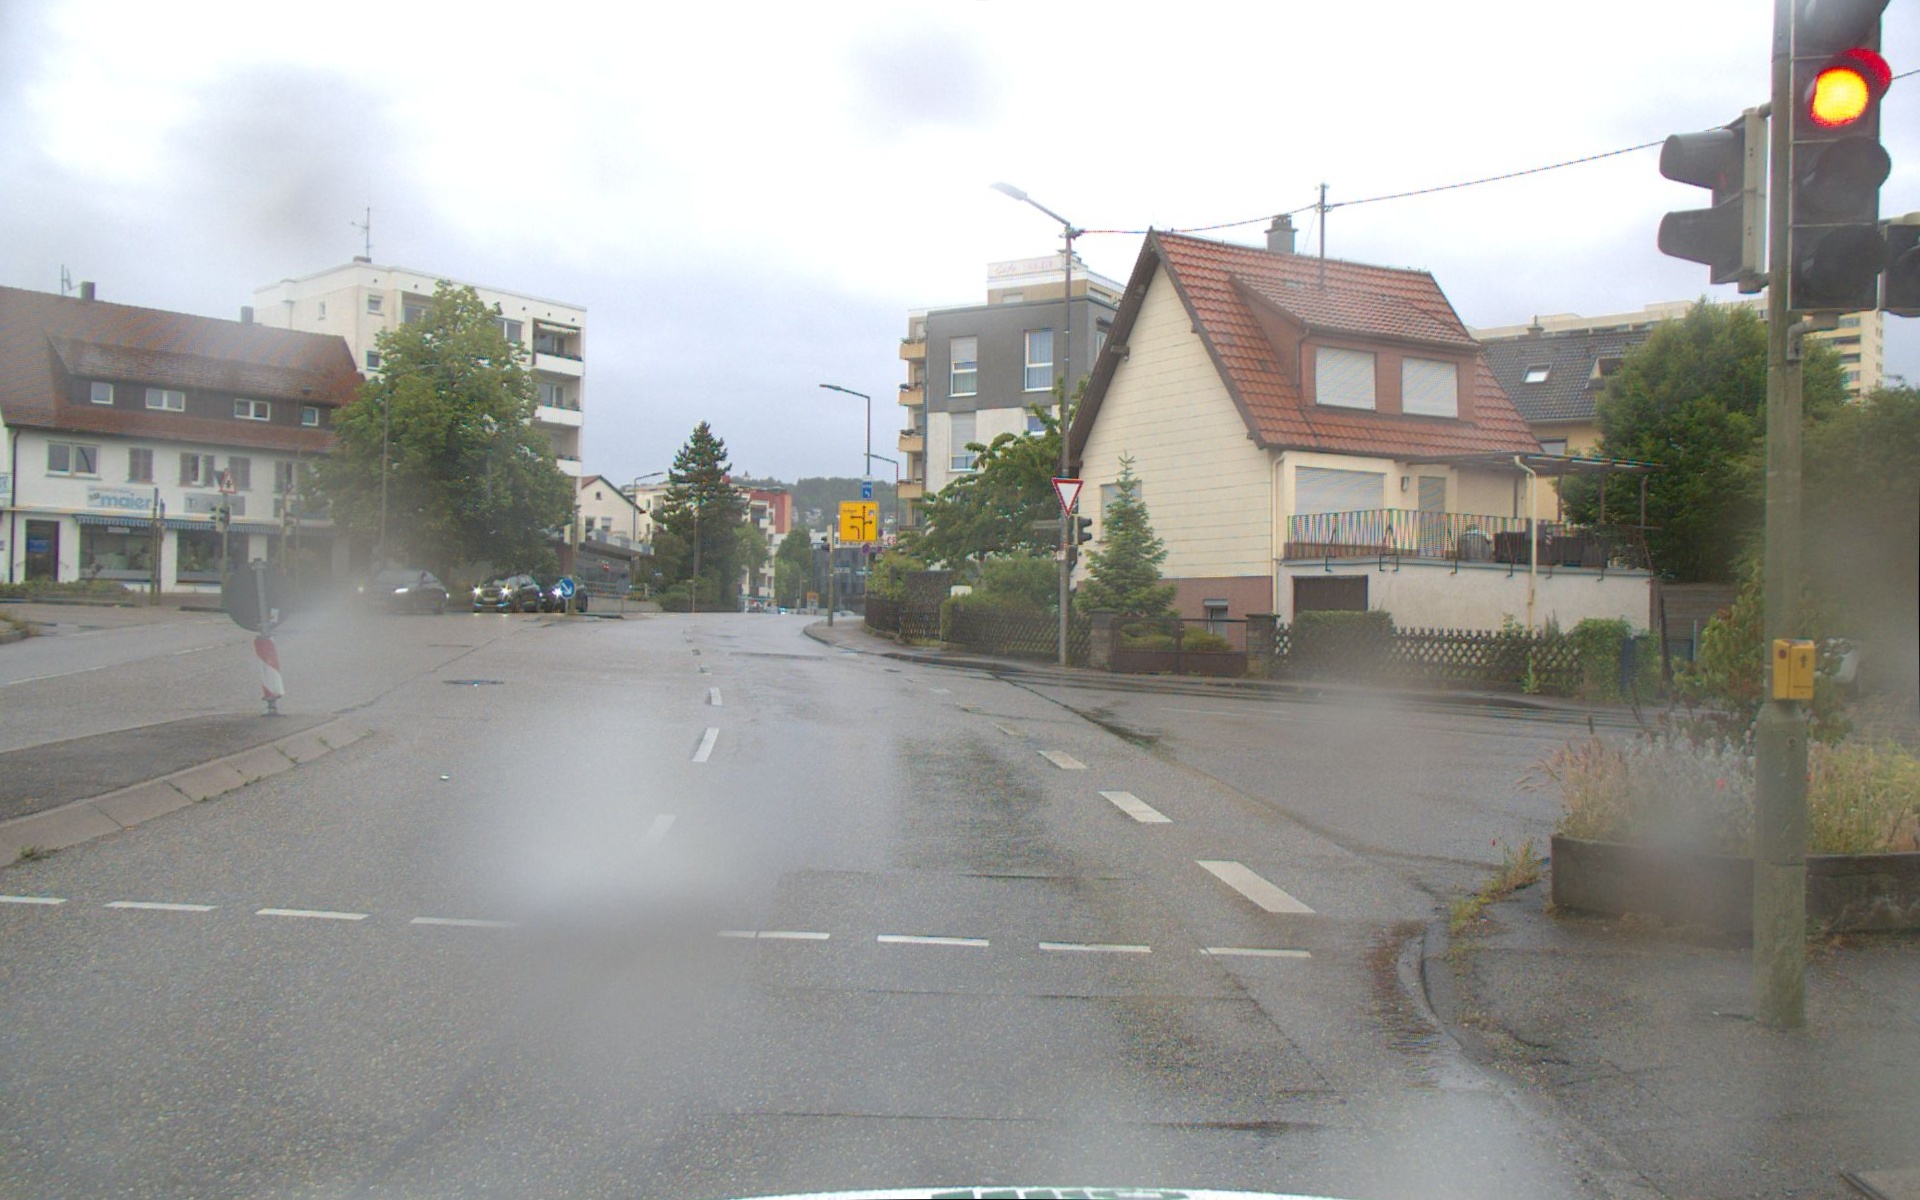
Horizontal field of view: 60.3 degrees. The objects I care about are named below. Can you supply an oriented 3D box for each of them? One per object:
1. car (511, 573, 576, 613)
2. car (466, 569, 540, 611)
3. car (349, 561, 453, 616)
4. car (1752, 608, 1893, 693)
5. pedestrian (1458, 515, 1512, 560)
[{"bbox_3d":[-17.830,-0.283,70.980,1.841,1.625,4.182,1,0,-2],"label":"car"},{"bbox_3d":[-17.849,-0.366,64.763,1.927,1.538,3.998,1,0,-2],"label":"car"},{"bbox_3d":[-17.959,-0.340,53.344,1.953,1.653,4.537,1,0,-2],"label":"car"},{"bbox_3d":[15.627,0.874,29.863,1.780,1.386,3.986,1,0,35],"label":"car"},{"bbox_3d":[11.158,-1.326,35.165,0.902,0.898,0.632,1,-2,-20],"label":"pedestrian"}]
